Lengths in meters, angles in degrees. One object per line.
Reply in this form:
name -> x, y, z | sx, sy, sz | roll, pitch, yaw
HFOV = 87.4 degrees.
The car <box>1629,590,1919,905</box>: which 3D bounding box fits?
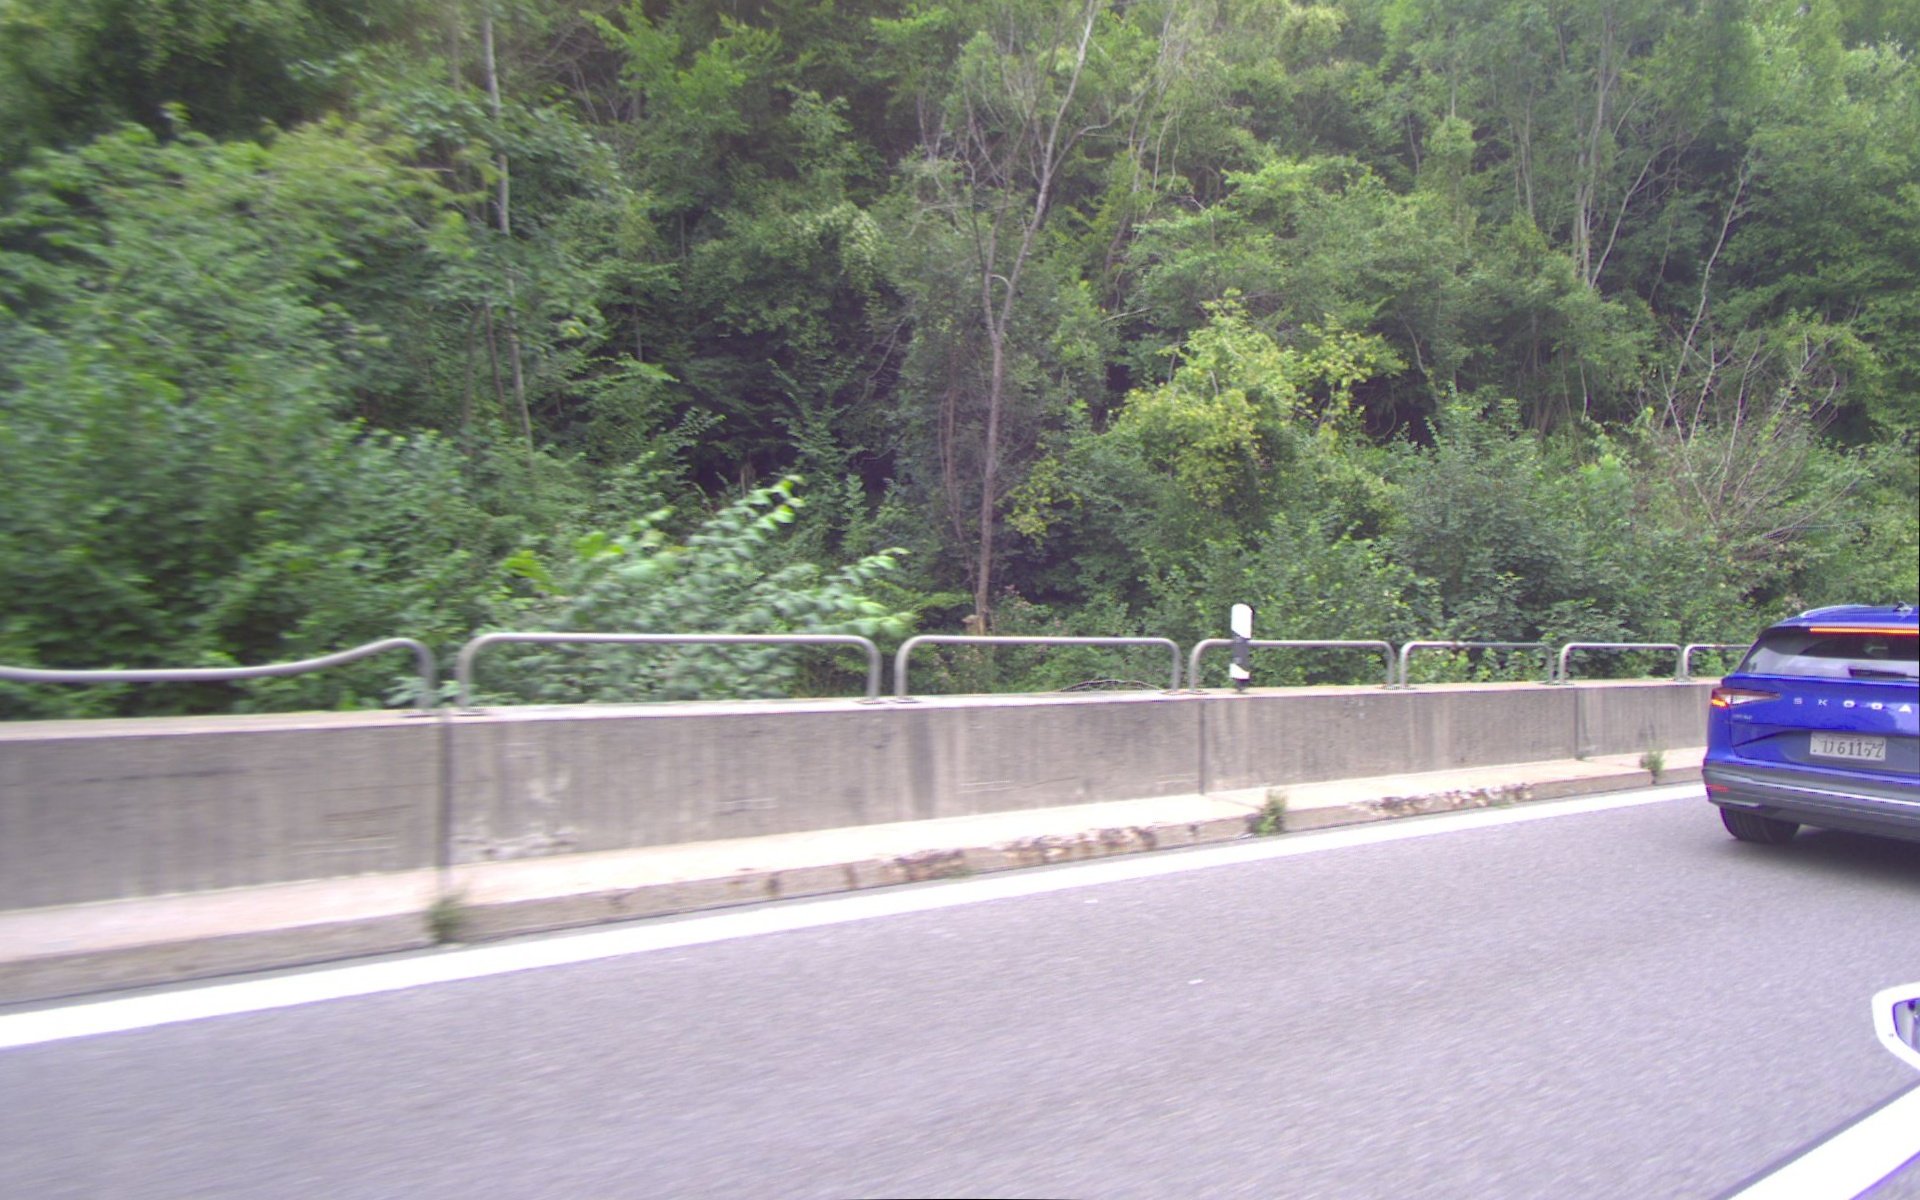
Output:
car -> 6.979, 0.830, 6.879 | 4.948, 1.653, 1.985 | 1, -2, -29
